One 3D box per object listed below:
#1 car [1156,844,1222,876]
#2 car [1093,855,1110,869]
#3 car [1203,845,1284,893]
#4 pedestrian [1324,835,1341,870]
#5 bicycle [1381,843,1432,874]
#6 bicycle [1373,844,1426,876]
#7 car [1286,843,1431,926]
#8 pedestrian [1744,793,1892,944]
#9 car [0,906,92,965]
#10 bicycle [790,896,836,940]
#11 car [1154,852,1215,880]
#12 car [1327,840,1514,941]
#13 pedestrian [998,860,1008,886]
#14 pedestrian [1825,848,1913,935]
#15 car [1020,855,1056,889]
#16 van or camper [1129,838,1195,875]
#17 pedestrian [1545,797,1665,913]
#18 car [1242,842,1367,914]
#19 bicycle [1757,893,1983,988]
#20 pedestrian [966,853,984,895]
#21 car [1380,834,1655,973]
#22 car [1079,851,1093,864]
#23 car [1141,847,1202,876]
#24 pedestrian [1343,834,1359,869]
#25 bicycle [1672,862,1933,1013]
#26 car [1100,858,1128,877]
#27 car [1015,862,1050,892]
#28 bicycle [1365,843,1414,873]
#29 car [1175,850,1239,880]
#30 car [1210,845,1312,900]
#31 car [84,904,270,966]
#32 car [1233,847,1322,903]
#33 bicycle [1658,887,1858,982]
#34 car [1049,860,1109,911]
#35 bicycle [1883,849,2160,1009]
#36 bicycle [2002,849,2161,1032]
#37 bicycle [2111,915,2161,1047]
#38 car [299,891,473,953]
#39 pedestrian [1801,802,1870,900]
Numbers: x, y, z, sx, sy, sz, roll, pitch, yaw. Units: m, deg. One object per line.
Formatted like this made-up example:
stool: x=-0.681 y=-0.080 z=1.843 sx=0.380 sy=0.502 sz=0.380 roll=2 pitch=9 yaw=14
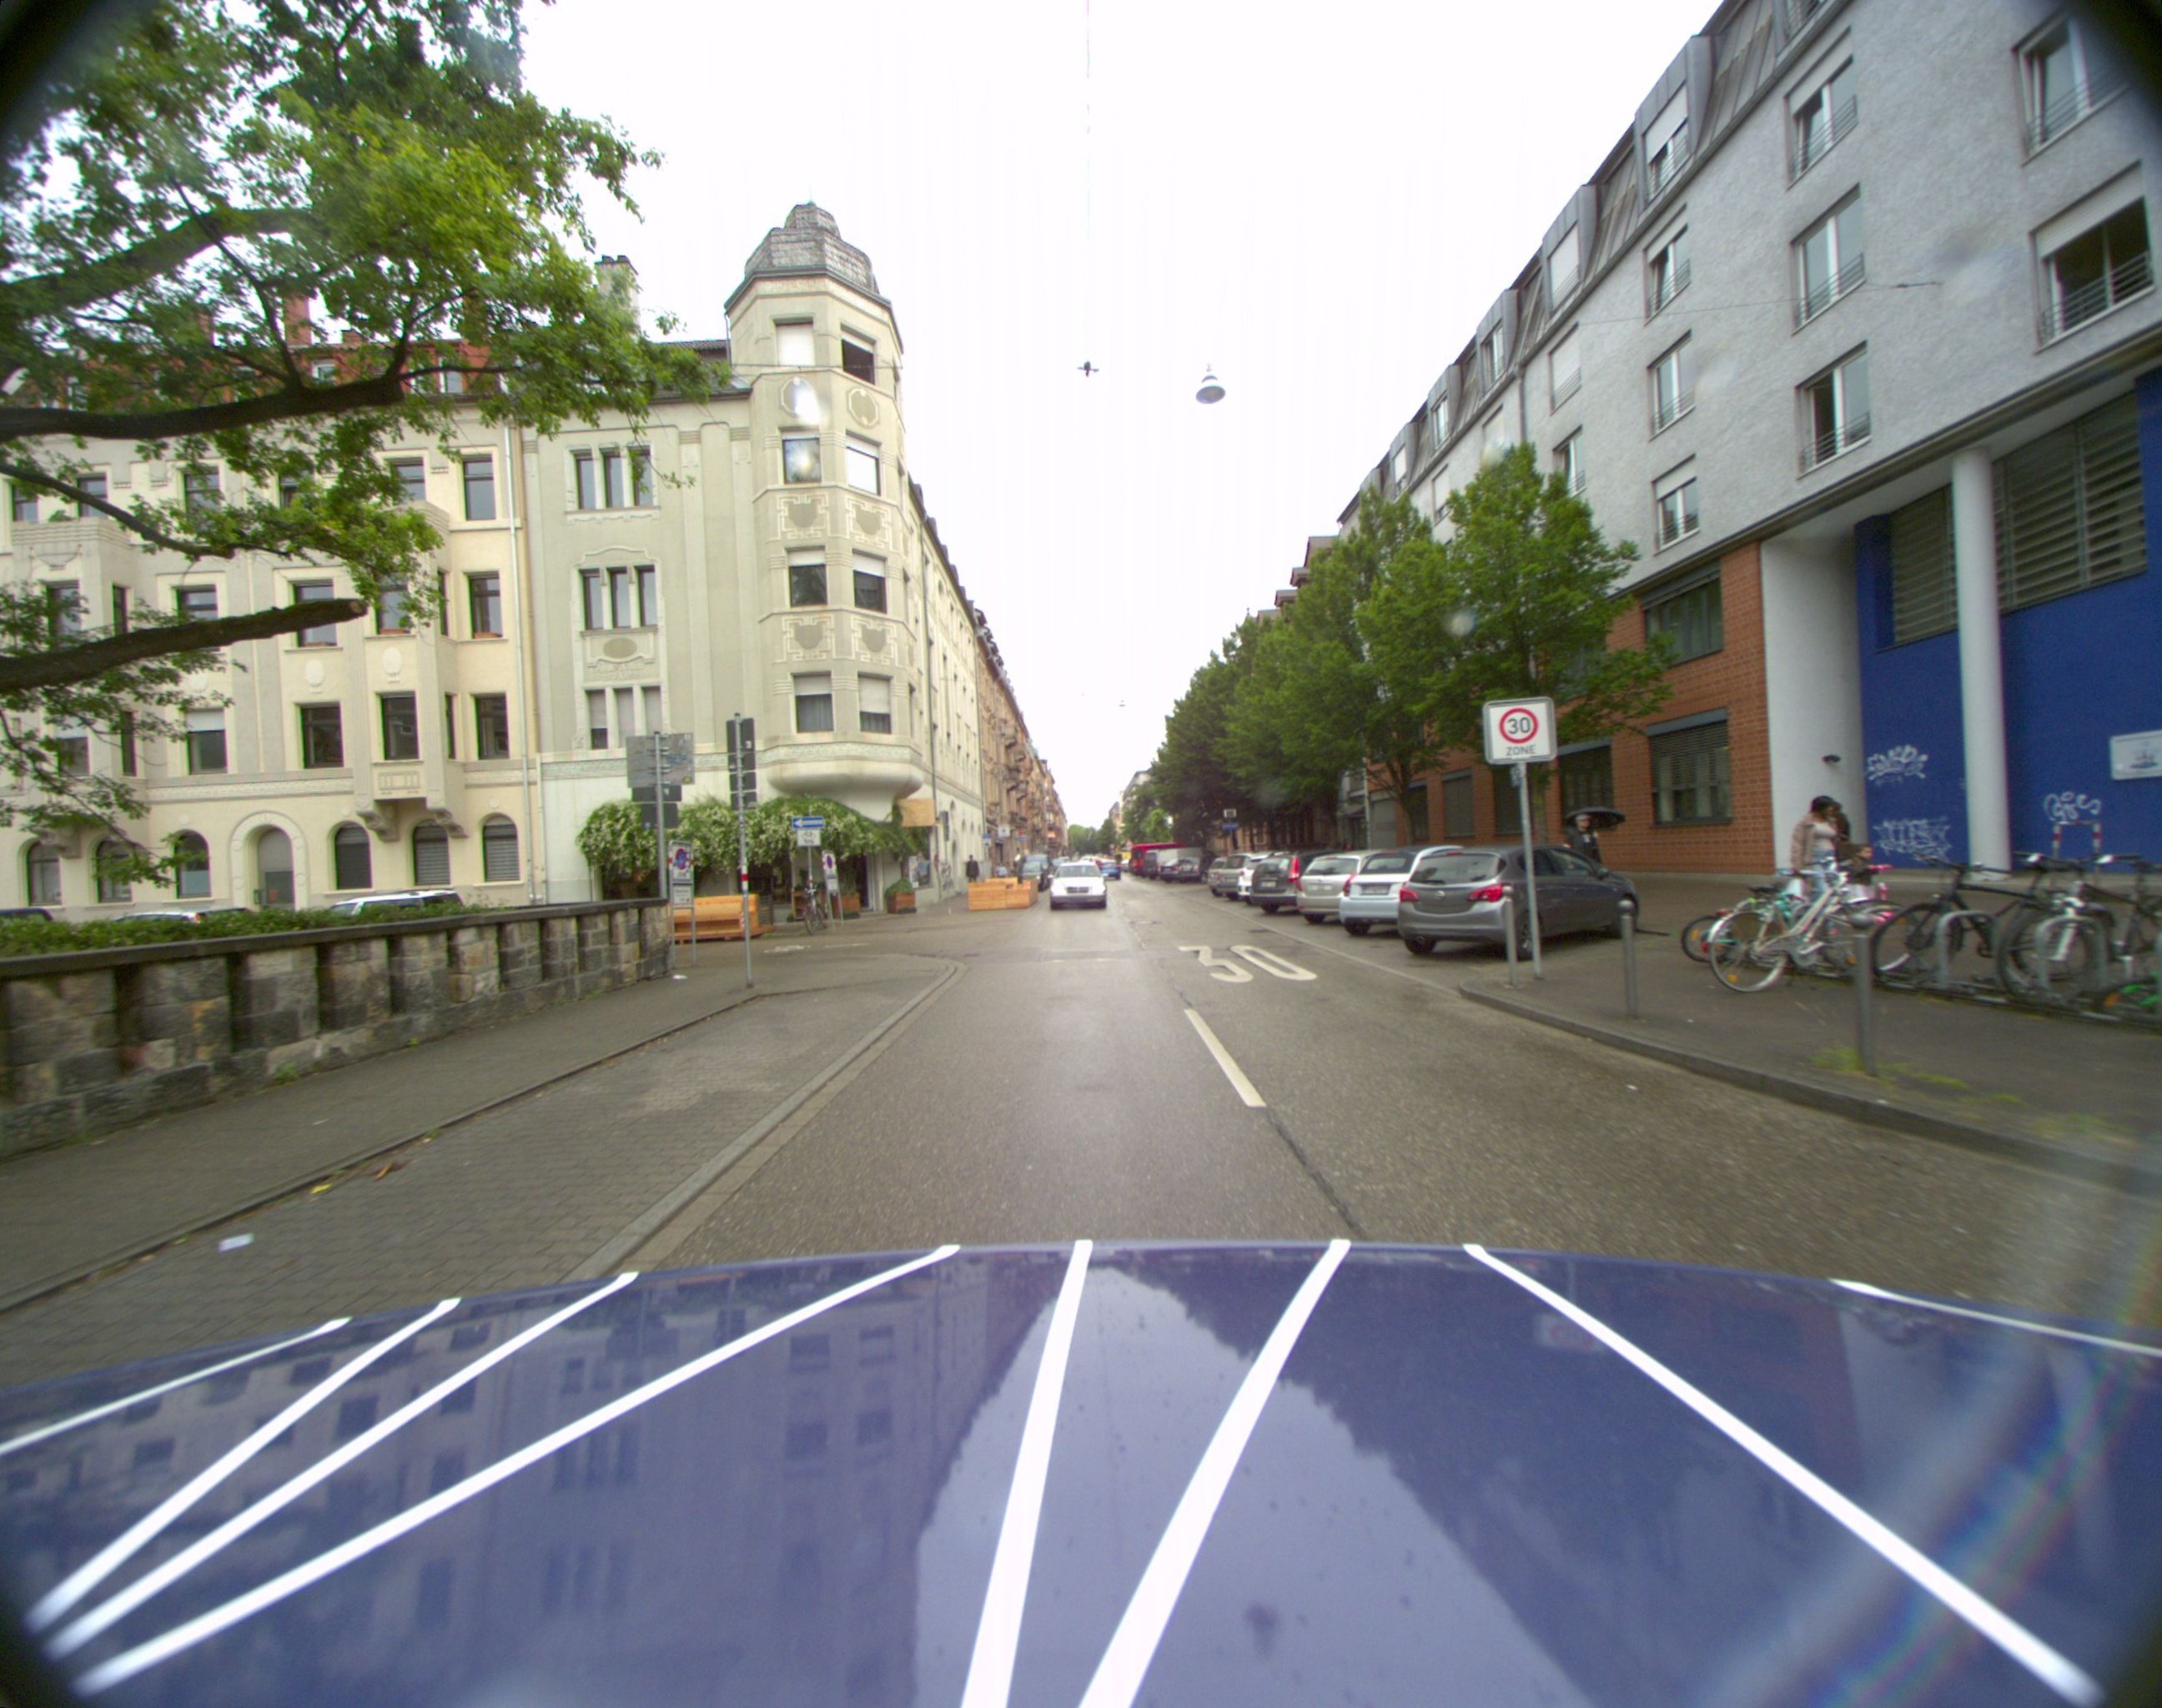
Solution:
car: x=6.973 y=0.351 z=48.800 sx=4.337 sy=1.884 sz=1.685 roll=-2 pitch=0 yaw=-40
car: x=2.042 y=0.766 z=75.658 sx=1.524 sy=1.301 sz=3.311 roll=-2 pitch=0 yaw=-1
car: x=5.917 y=0.526 z=27.629 sx=2.685 sy=1.546 sz=1.148 roll=-4 pitch=0 yaw=-28
pedestrian: x=11.742 y=-0.063 z=35.454 sx=0.605 sy=1.601 sz=0.372 roll=-3 pitch=1 yaw=0
bicycle: x=11.352 y=0.158 z=26.525 sx=1.590 sy=0.978 sz=0.465 roll=-3 pitch=1 yaw=-7
bicycle: x=10.750 y=0.193 z=25.641 sx=1.590 sy=0.978 sz=0.465 roll=-3 pitch=1 yaw=-7
car: x=5.969 y=0.608 z=16.242 sx=3.083 sy=1.494 sz=1.449 roll=-4 pitch=0 yaw=-39
pedestrian: x=9.093 y=0.170 z=9.419 sx=0.827 sy=1.697 sz=0.859 roll=-7 pitch=0 yaw=2
car: x=-28.855 y=2.190 z=20.236 sx=3.270 sy=1.401 sz=1.448 roll=-2 pitch=0 yaw=4
bicycle: x=-6.863 y=1.617 z=19.572 sx=0.390 sy=0.888 sz=2.023 roll=-2 pitch=2 yaw=1
car: x=6.109 y=0.670 z=44.583 sx=1.685 sy=1.481 sz=3.798 roll=-2 pitch=0 yaw=41
car: x=6.109 y=0.599 z=13.630 sx=3.082 sy=1.494 sz=1.449 roll=-4 pitch=0 yaw=-30
pedestrian: x=-4.418 y=1.090 z=43.140 sx=0.482 sy=1.452 sz=0.392 roll=-2 pitch=1 yaw=1
pedestrian: x=10.173 y=0.477 z=9.824 sx=0.485 sy=1.044 sz=0.528 roll=-7 pitch=0 yaw=0
car: x=-2.407 y=0.979 z=43.333 sx=1.726 sy=1.794 sz=3.462 roll=-2 pitch=0 yaw=1
van or camper: x=6.210 y=0.169 z=58.258 sx=4.603 sy=2.597 sz=2.000 roll=-2 pitch=0 yaw=-26
pedestrian: x=9.386 y=0.025 z=13.676 sx=1.228 sy=1.870 sz=1.055 roll=-7 pitch=0 yaw=1
car: x=5.663 y=0.585 z=19.133 sx=3.083 sy=1.543 sz=1.449 roll=-4 pitch=0 yaw=-39
bicycle: x=7.232 y=0.783 z=7.005 sx=1.473 sy=0.717 sz=0.497 roll=-4 pitch=1 yaw=4
pedestrian: x=-4.834 y=0.911 z=34.758 sx=0.646 sy=1.862 sz=0.693 roll=-2 pitch=1 yaw=1
car: x=6.177 y=0.582 z=10.701 sx=3.628 sy=1.494 sz=1.736 roll=-4 pitch=1 yaw=-30
car: x=0.812 y=0.587 z=123.153 sx=1.998 sy=2.002 sz=4.000 roll=-3 pitch=0 yaw=2
car: x=6.254 y=0.485 z=52.327 sx=4.337 sy=1.822 sz=1.572 roll=-2 pitch=0 yaw=-40
pedestrian: x=12.593 y=-0.125 z=35.432 sx=0.514 sy=1.601 sz=0.425 roll=-3 pitch=1 yaw=2
bicycle: x=6.153 y=0.689 z=6.514 sx=1.812 sy=1.099 sz=0.472 roll=-4 pitch=1 yaw=-3
car: x=2.347 y=0.951 z=55.026 sx=1.651 sy=1.301 sz=3.311 roll=-2 pitch=0 yaw=-4
car: x=-2.409 y=1.136 z=38.414 sx=1.447 sy=1.348 sz=3.204 roll=-2 pitch=0 yaw=1
bicycle: x=11.224 y=0.146 z=27.662 sx=1.590 sy=0.978 sz=0.465 roll=-3 pitch=1 yaw=-7
car: x=6.998 y=0.609 z=42.049 sx=1.685 sy=1.481 sz=3.798 roll=-2 pitch=0 yaw=41
car: x=5.895 y=0.581 z=24.871 sx=2.985 sy=1.546 sz=1.370 roll=-4 pitch=0 yaw=-28
car: x=-23.743 y=2.112 z=20.020 sx=3.270 sy=1.401 sz=1.448 roll=-2 pitch=0 yaw=4
car: x=5.798 y=0.593 z=22.364 sx=2.506 sy=1.442 sz=1.191 roll=-4 pitch=0 yaw=-39
bicycle: x=6.774 y=0.794 z=7.641 sx=1.473 sy=0.800 sz=0.497 roll=-4 pitch=1 yaw=4
car: x=-0.022 y=0.966 z=24.924 sx=1.764 sy=1.420 sz=4.000 roll=-3 pitch=0 yaw=1
bicycle: x=7.470 y=0.569 z=6.065 sx=1.610 sy=1.099 sz=0.520 roll=-4 pitch=1 yaw=-3
bicycle: x=7.532 y=0.570 z=5.411 sx=1.611 sy=1.099 sz=0.520 roll=-4 pitch=1 yaw=-12
bicycle: x=7.430 y=0.737 z=4.758 sx=1.773 sy=0.757 sz=0.456 roll=-4 pitch=1 yaw=-12
car: x=-18.111 y=1.748 z=19.883 sx=3.270 sy=1.401 sz=1.448 roll=-2 pitch=0 yaw=4
pedestrian: x=12.005 y=-0.048 z=12.099 sx=0.515 sy=1.521 sz=0.548 roll=-2 pitch=1 yaw=-2
